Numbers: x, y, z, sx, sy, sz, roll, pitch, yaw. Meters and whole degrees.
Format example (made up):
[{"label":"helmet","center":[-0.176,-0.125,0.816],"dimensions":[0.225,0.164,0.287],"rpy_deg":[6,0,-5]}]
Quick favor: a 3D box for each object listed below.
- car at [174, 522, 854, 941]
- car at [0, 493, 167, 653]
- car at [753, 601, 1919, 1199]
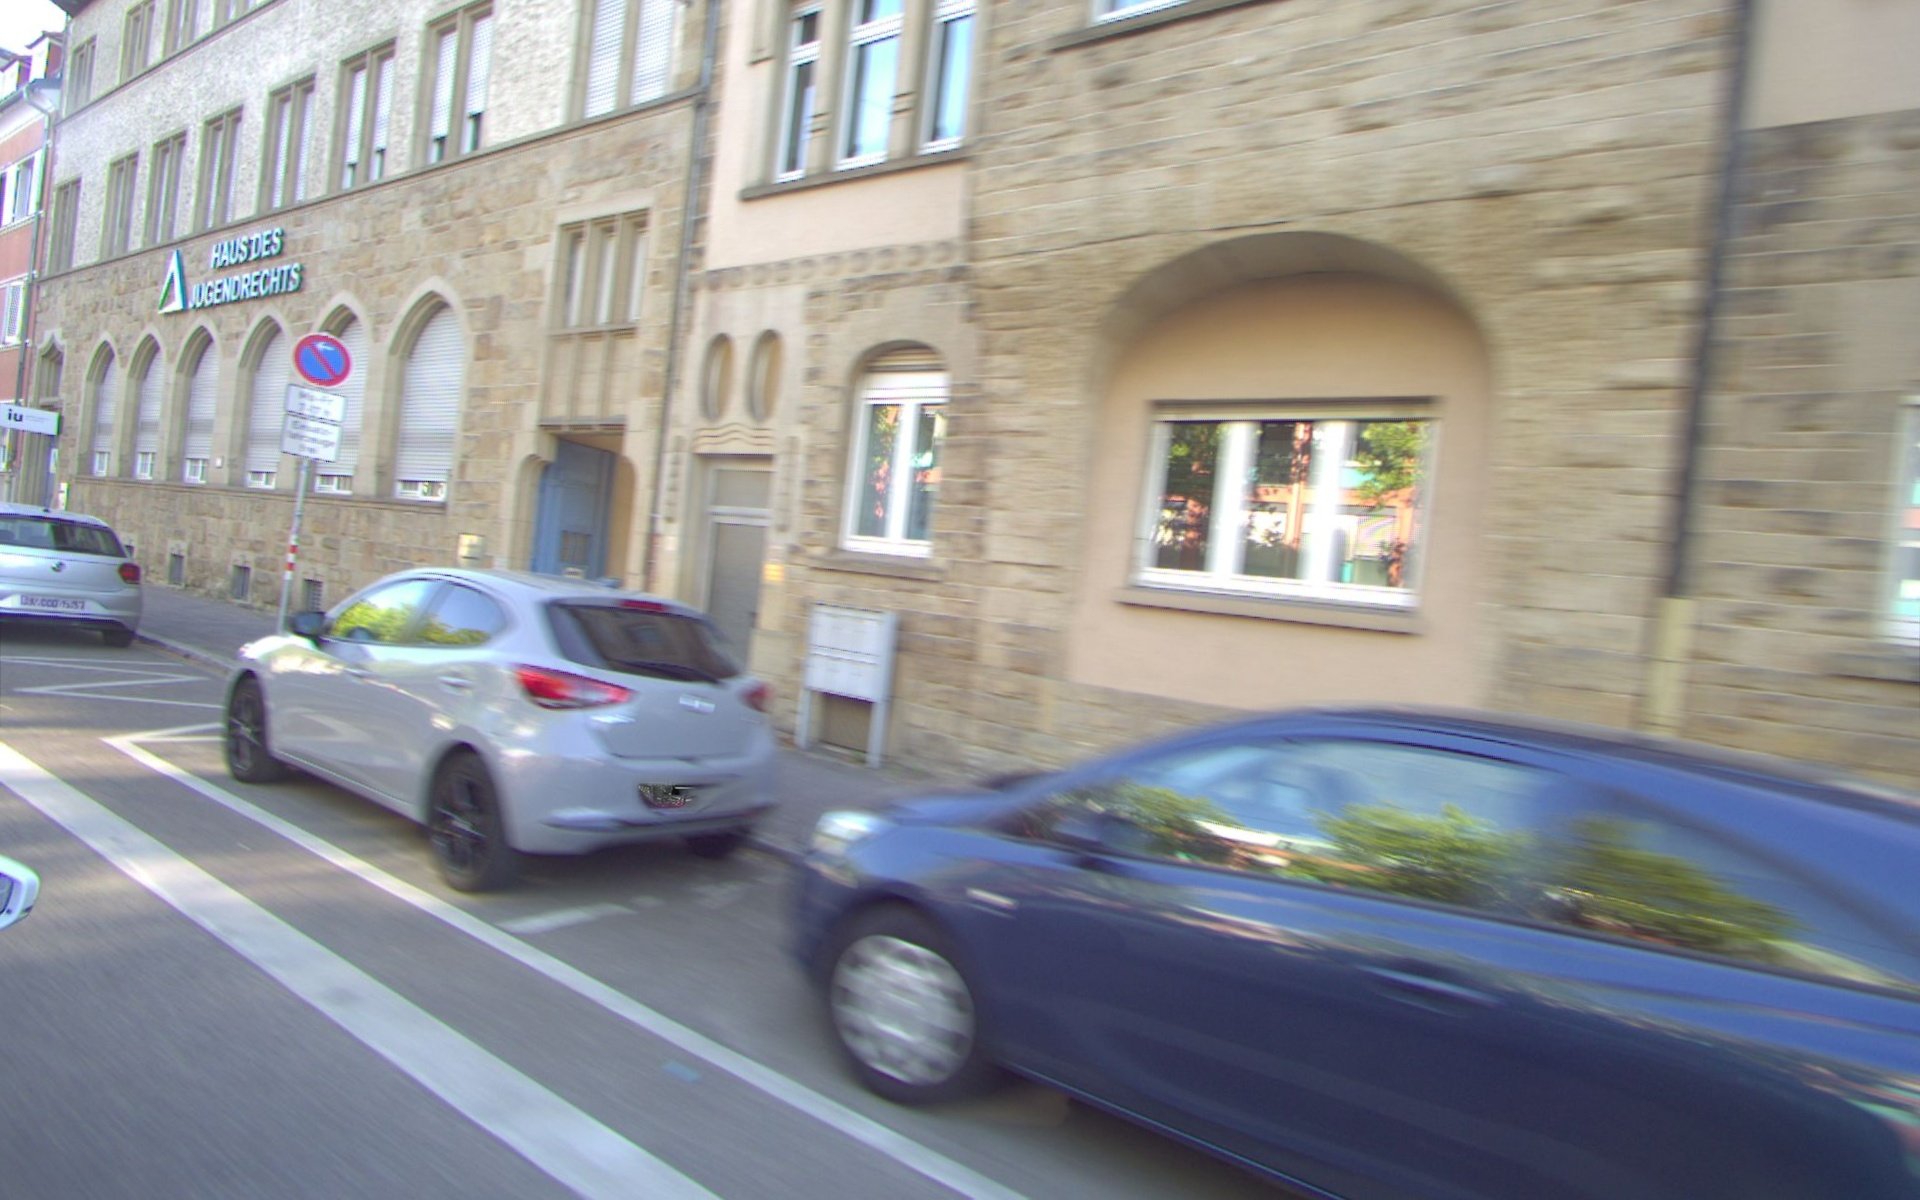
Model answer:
[{"label":"car","center":[-2.838,0.534,6.023],"dimensions":[4.131,1.518,1.754],"rpy_deg":[7,-2,36]},{"label":"car","center":[-11.081,-0.454,11.648],"dimensions":[4.159,1.518,1.716],"rpy_deg":[7,-2,35]},{"label":"car","center":[1.504,1.008,2.746],"dimensions":[3.936,1.500,1.657],"rpy_deg":[7,-1,34]}]
